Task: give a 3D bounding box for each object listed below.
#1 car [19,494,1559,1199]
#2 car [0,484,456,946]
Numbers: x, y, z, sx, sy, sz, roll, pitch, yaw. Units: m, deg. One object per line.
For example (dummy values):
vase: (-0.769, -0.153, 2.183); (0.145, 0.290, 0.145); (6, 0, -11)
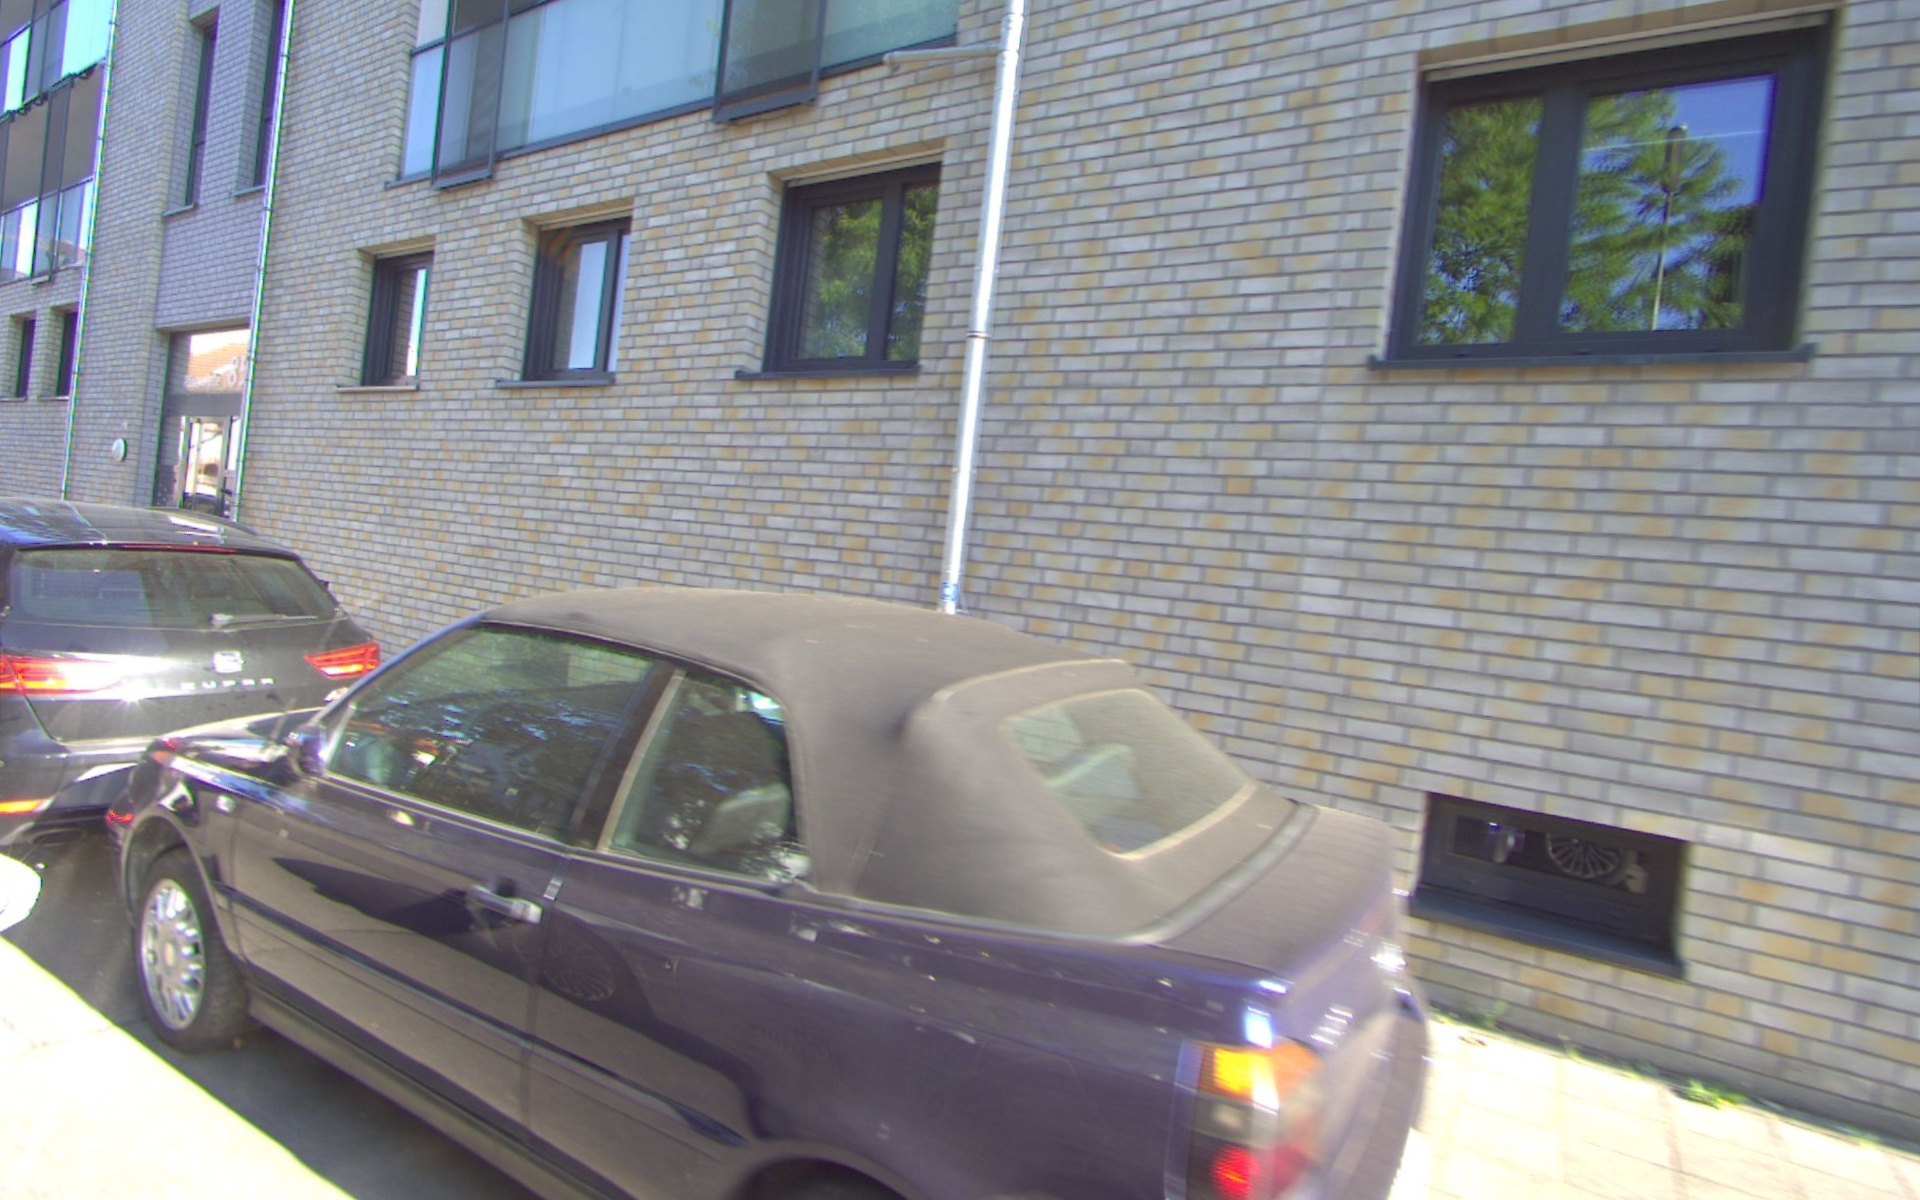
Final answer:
car: (-0.789, 0.677, 2.909); (4.147, 1.536, 1.665); (7, 2, 30)
car: (-4.799, 0.190, 5.047); (4.639, 1.487, 1.698); (7, 2, 30)
